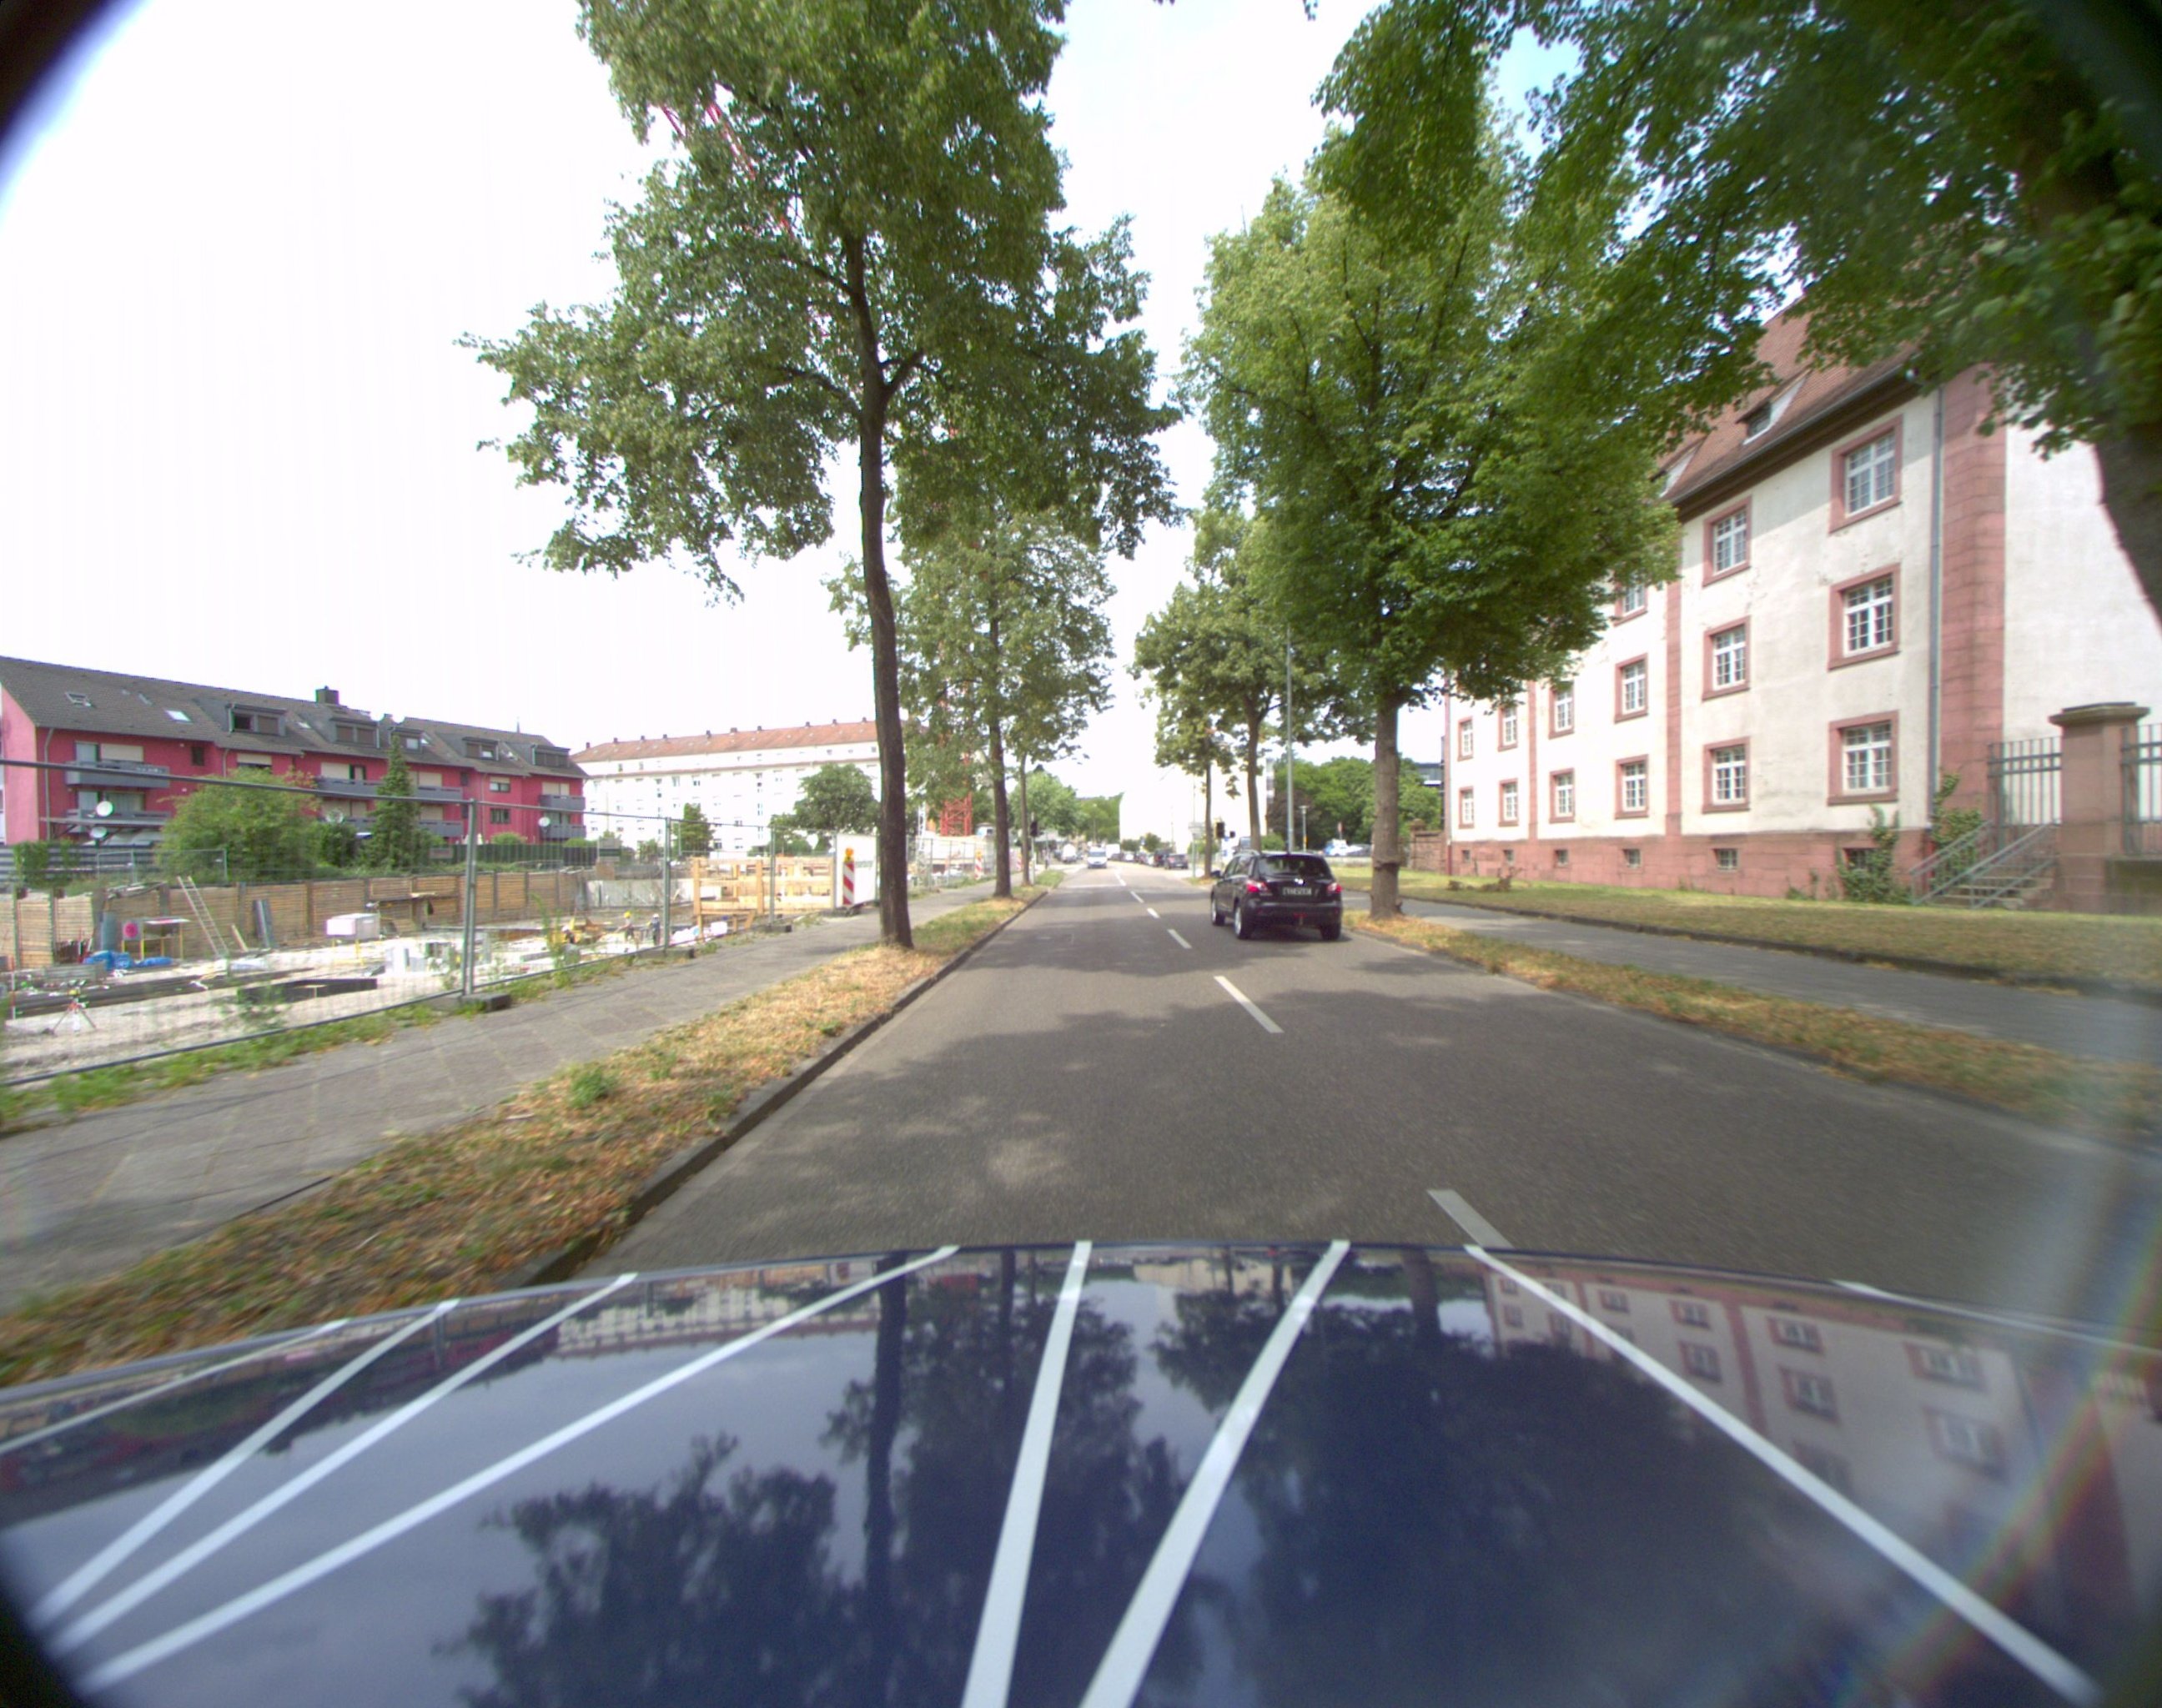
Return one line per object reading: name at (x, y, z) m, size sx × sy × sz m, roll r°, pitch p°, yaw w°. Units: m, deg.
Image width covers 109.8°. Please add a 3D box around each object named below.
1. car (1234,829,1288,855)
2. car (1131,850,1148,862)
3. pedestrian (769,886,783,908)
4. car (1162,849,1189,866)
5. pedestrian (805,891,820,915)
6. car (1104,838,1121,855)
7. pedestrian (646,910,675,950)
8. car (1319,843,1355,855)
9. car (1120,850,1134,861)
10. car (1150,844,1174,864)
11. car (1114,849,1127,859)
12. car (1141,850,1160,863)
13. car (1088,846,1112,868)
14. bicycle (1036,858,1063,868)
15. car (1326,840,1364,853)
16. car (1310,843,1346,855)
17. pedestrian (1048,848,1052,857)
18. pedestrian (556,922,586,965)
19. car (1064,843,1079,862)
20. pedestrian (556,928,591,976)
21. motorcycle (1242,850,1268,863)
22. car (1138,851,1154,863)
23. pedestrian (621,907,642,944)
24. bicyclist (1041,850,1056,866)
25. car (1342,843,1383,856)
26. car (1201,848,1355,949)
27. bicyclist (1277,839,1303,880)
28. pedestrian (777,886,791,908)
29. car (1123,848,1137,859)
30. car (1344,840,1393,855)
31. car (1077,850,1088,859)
car at (19.761, -1.297, 83.408) m, size 5.323 × 2.537 × 2.354 m, roll -3°, pitch 1°, yaw 2°
car at (7.860, 0.250, 102.235) m, size 1.626 × 1.566 × 3.998 m, roll -1°, pitch 1°, yaw -3°
pedestrian at (-24.637, 3.476, 61.321) m, size 0.842 × 1.712 × 0.722 m, roll 2°, pitch 2°, yaw 38°
car at (8.558, 0.314, 69.311) m, size 1.827 × 1.464 × 4.296 m, roll -3°, pitch 0°, yaw -1°
pedestrian at (-20.094, 3.693, 56.903) m, size 0.842 × 1.712 × 0.722 m, roll 2°, pitch 2°, yaw 38°
car at (5.879, -1.321, 142.452) m, size 2.622 × 3.040 × 7.112 m, roll 1°, pitch 0°, yaw -2°
pedestrian at (-19.720, 3.561, 35.663) m, size 0.842 × 1.712 × 0.986 m, roll 2°, pitch 2°, yaw 43°
car at (32.240, -0.623, 95.749) m, size 3.997 × 1.474 × 1.857 m, roll -1°, pitch 1°, yaw 1°
car at (7.109, 0.163, 118.779) m, size 1.722 × 1.615 × 3.838 m, roll -1°, pitch 1°, yaw -4°
car at (8.493, -0.020, 79.689) m, size 1.953 × 1.992 × 4.843 m, roll -2°, pitch 0°, yaw 0°
car at (6.563, 0.052, 126.440) m, size 1.722 × 1.615 × 3.838 m, roll -1°, pitch 1°, yaw -4°
car at (8.302, 0.305, 90.828) m, size 1.692 × 1.448 × 4.262 m, roll -1°, pitch 0°, yaw -1°
car at (1.726, 0.235, 70.646) m, size 1.999 × 2.002 × 3.998 m, roll 1°, pitch 1°, yaw -2°
bicycle at (-2.886, 0.821, 69.027) m, size 2.473 × 0.927 × 0.716 m, roll -1°, pitch 0°, yaw 33°
car at (32.366, -0.890, 93.151) m, size 3.997 × 1.474 × 1.970 m, roll -1°, pitch 1°, yaw 1°
car at (32.021, -0.665, 98.549) m, size 3.997 × 1.474 × 1.982 m, roll -1°, pitch 1°, yaw 1°
pedestrian at (-6.048, -0.300, 148.305) m, size 0.808 × 1.793 × 0.763 m, roll 1°, pitch 1°, yaw -2°
pedestrian at (-21.956, 3.853, 32.720) m, size 0.718 × 1.712 × 0.846 m, roll 2°, pitch 2°, yaw 35°
car at (-1.386, -0.236, 109.021) m, size 1.900 × 2.587 × 4.903 m, roll -3°, pitch 1°, yaw -2°
pedestrian at (-19.451, 3.729, 29.124) m, size 0.843 × 1.712 × 0.721 m, roll 1°, pitch 1°, yaw 17°
motorcycle at (15.190, 0.193, 66.361) m, size 2.095 × 1.135 × 0.725 m, roll 1°, pitch 1°, yaw 5°
car at (8.203, 0.377, 96.654) m, size 1.691 × 1.462 × 4.048 m, roll -1°, pitch 1°, yaw 1°
pedestrian at (-22.584, 3.578, 38.159) m, size 0.842 × 1.712 × 0.722 m, roll 2°, pitch 2°, yaw 43°
bicyclist at (-2.943, 0.353, 69.058) m, size 1.078 × 1.404 × 0.716 m, roll -4°, pitch -1°, yaw 33°
car at (32.625, -0.551, 88.213) m, size 4.165 × 1.474 × 1.616 m, roll -1°, pitch 1°, yaw 1°
car at (3.577, 0.724, 14.627) m, size 1.776 × 1.649 × 4.256 m, roll 1°, pitch 1°, yaw -1°
bicyclist at (8.690, 0.228, 31.622) m, size 0.724 × 1.646 × 0.958 m, roll -5°, pitch 1°, yaw 1°
pedestrian at (-24.221, 3.478, 61.964) m, size 0.842 × 1.712 × 0.722 m, roll 2°, pitch 2°, yaw 38°
car at (7.271, -0.044, 113.009) m, size 1.791 × 1.554 × 4.550 m, roll -3°, pitch 0°, yaw 0°
car at (32.367, -0.685, 85.684) m, size 4.703 × 1.654 × 2.330 m, roll 0°, pitch 1°, yaw 3°
car at (0.358, 0.012, 146.256) m, size 1.949 × 1.656 × 3.998 m, roll 1°, pitch 1°, yaw -2°
